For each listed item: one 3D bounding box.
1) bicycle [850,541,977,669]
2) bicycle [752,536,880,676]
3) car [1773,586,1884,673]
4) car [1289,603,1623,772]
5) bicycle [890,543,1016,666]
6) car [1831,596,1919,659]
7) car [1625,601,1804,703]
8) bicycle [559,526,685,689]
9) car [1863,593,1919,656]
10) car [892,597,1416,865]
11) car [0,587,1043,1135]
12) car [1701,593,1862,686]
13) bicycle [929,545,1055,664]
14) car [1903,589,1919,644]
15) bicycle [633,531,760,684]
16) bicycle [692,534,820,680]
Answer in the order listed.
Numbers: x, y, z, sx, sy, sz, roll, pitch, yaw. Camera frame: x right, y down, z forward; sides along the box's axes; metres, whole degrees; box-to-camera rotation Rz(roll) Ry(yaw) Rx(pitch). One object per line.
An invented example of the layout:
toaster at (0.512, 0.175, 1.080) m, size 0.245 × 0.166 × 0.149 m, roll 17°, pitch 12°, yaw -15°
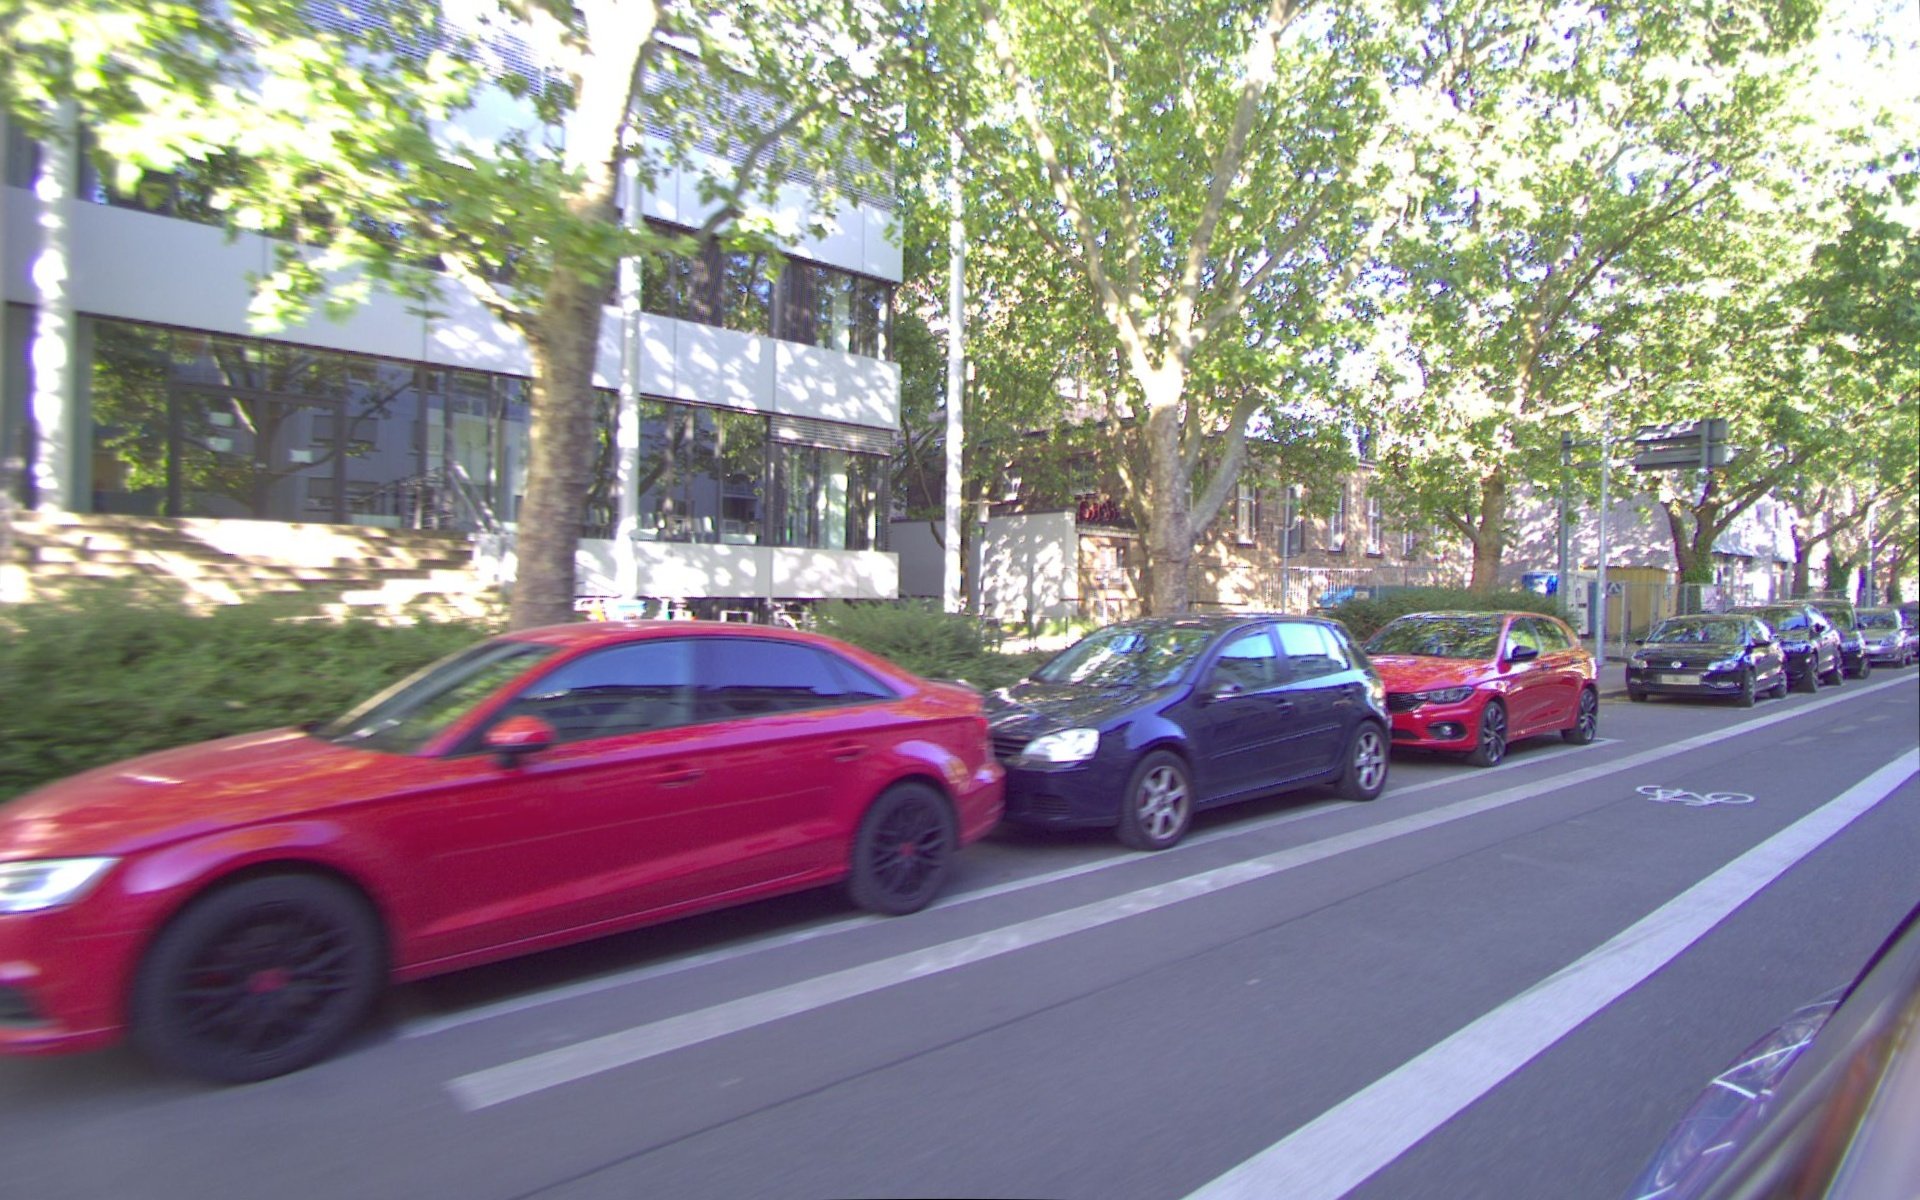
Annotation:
bicycle at (-0.848, 0.051, 17.383) m, size 0.729 × 2.039 × 2.603 m, roll 1°, pitch 1°, yaw -40°
bicycle at (-2.342, 0.058, 16.070) m, size 0.729 × 2.039 × 2.603 m, roll 1°, pitch 1°, yaw -40°
car at (20.700, 0.655, 24.128) m, size 1.823 × 1.865 × 4.825 m, roll -1°, pitch -1°, yaw 41°
car at (5.511, 0.795, 11.013) m, size 4.242 × 1.498 × 1.696 m, roll 0°, pitch -1°, yaw -40°
bicycle at (-0.172, 0.049, 17.952) m, size 0.729 × 2.039 × 2.603 m, roll 1°, pitch 1°, yaw -40°
car at (25.857, 0.734, 28.364) m, size 4.256 × 1.648 × 1.694 m, roll 1°, pitch -1°, yaw -43°
car at (12.795, 0.798, 17.083) m, size 3.951 × 1.523 × 1.694 m, roll 1°, pitch -1°, yaw -43°
bicycle at (-4.701, 0.067, 13.915) m, size 0.729 × 2.039 × 2.603 m, roll 1°, pitch 1°, yaw -40°
car at (29.359, 0.726, 31.127) m, size 4.055 × 1.836 × 1.696 m, roll 0°, pitch -1°, yaw -39°
car at (1.603, 0.748, 7.564) m, size 3.992 × 1.485 × 1.696 m, roll 0°, pitch -1°, yaw -39°
car at (-1.717, 0.722, 4.674) m, size 4.360 × 1.468 × 1.694 m, roll 0°, pitch -1°, yaw -43°
car at (16.444, 0.724, 20.183) m, size 4.540 × 1.648 × 1.778 m, roll 0°, pitch -1°, yaw -42°
bicycle at (0.542, 0.046, 18.522) m, size 0.729 × 2.039 × 2.603 m, roll 1°, pitch 1°, yaw -40°
car at (37.654, 0.622, 38.578) m, size 5.083 × 2.019 × 2.080 m, roll 1°, pitch -1°, yaw -42°
bicycle at (-3.876, 0.064, 14.717) m, size 0.729 × 2.039 × 2.603 m, roll 1°, pitch 1°, yaw -40°
bicycle at (-3.151, 0.061, 15.373) m, size 0.729 × 2.039 × 2.603 m, roll 1°, pitch 1°, yaw -40°
